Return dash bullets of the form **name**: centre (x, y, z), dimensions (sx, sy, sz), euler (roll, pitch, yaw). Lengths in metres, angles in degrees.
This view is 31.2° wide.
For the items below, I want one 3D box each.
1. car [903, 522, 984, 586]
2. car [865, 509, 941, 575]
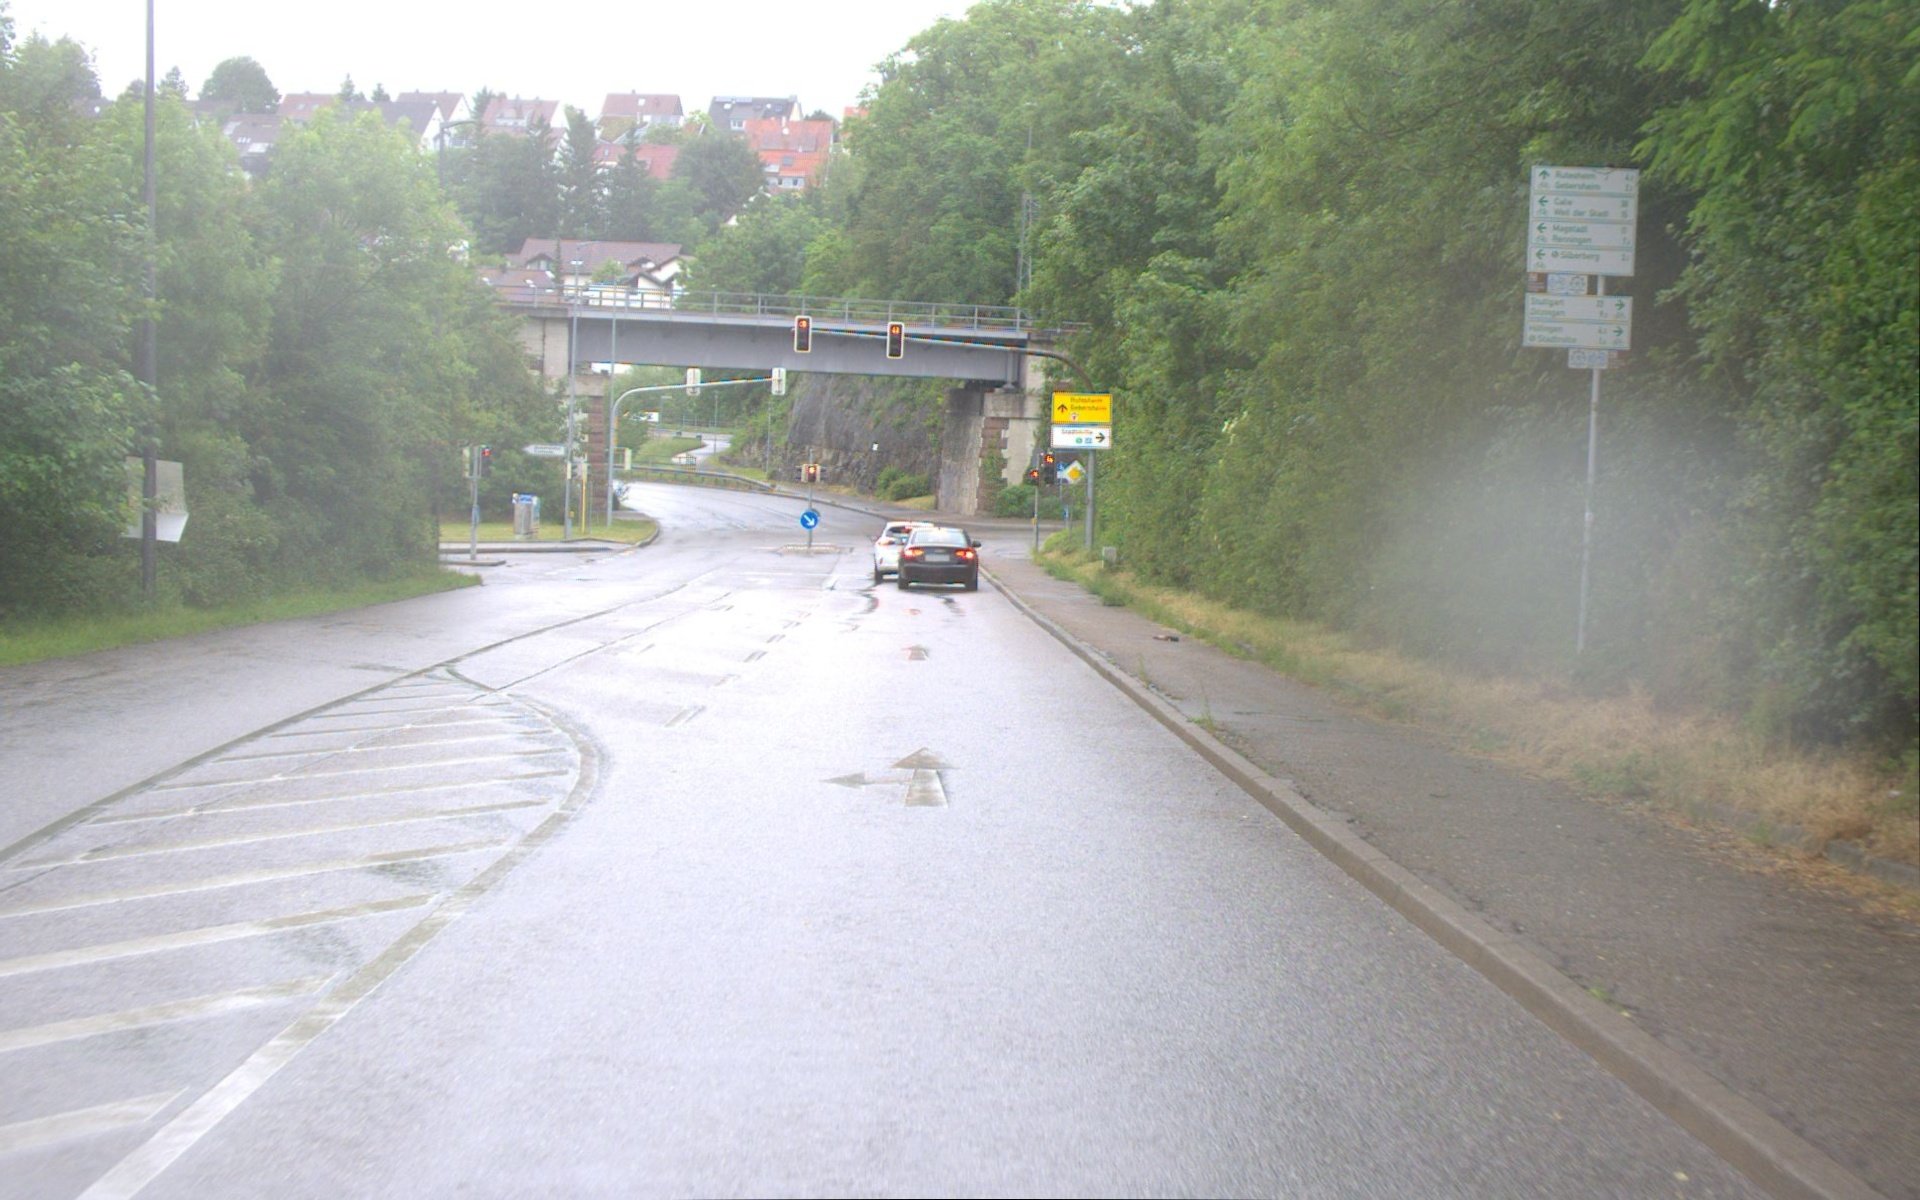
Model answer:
- **car**: centre (-0.372, -1.045, 77.353), dimensions (1.768, 1.375, 4.000), euler (1, 1, 0)
- **car**: centre (-1.375, -1.435, 84.114), dimensions (1.768, 1.557, 4.000), euler (1, 1, 0)
